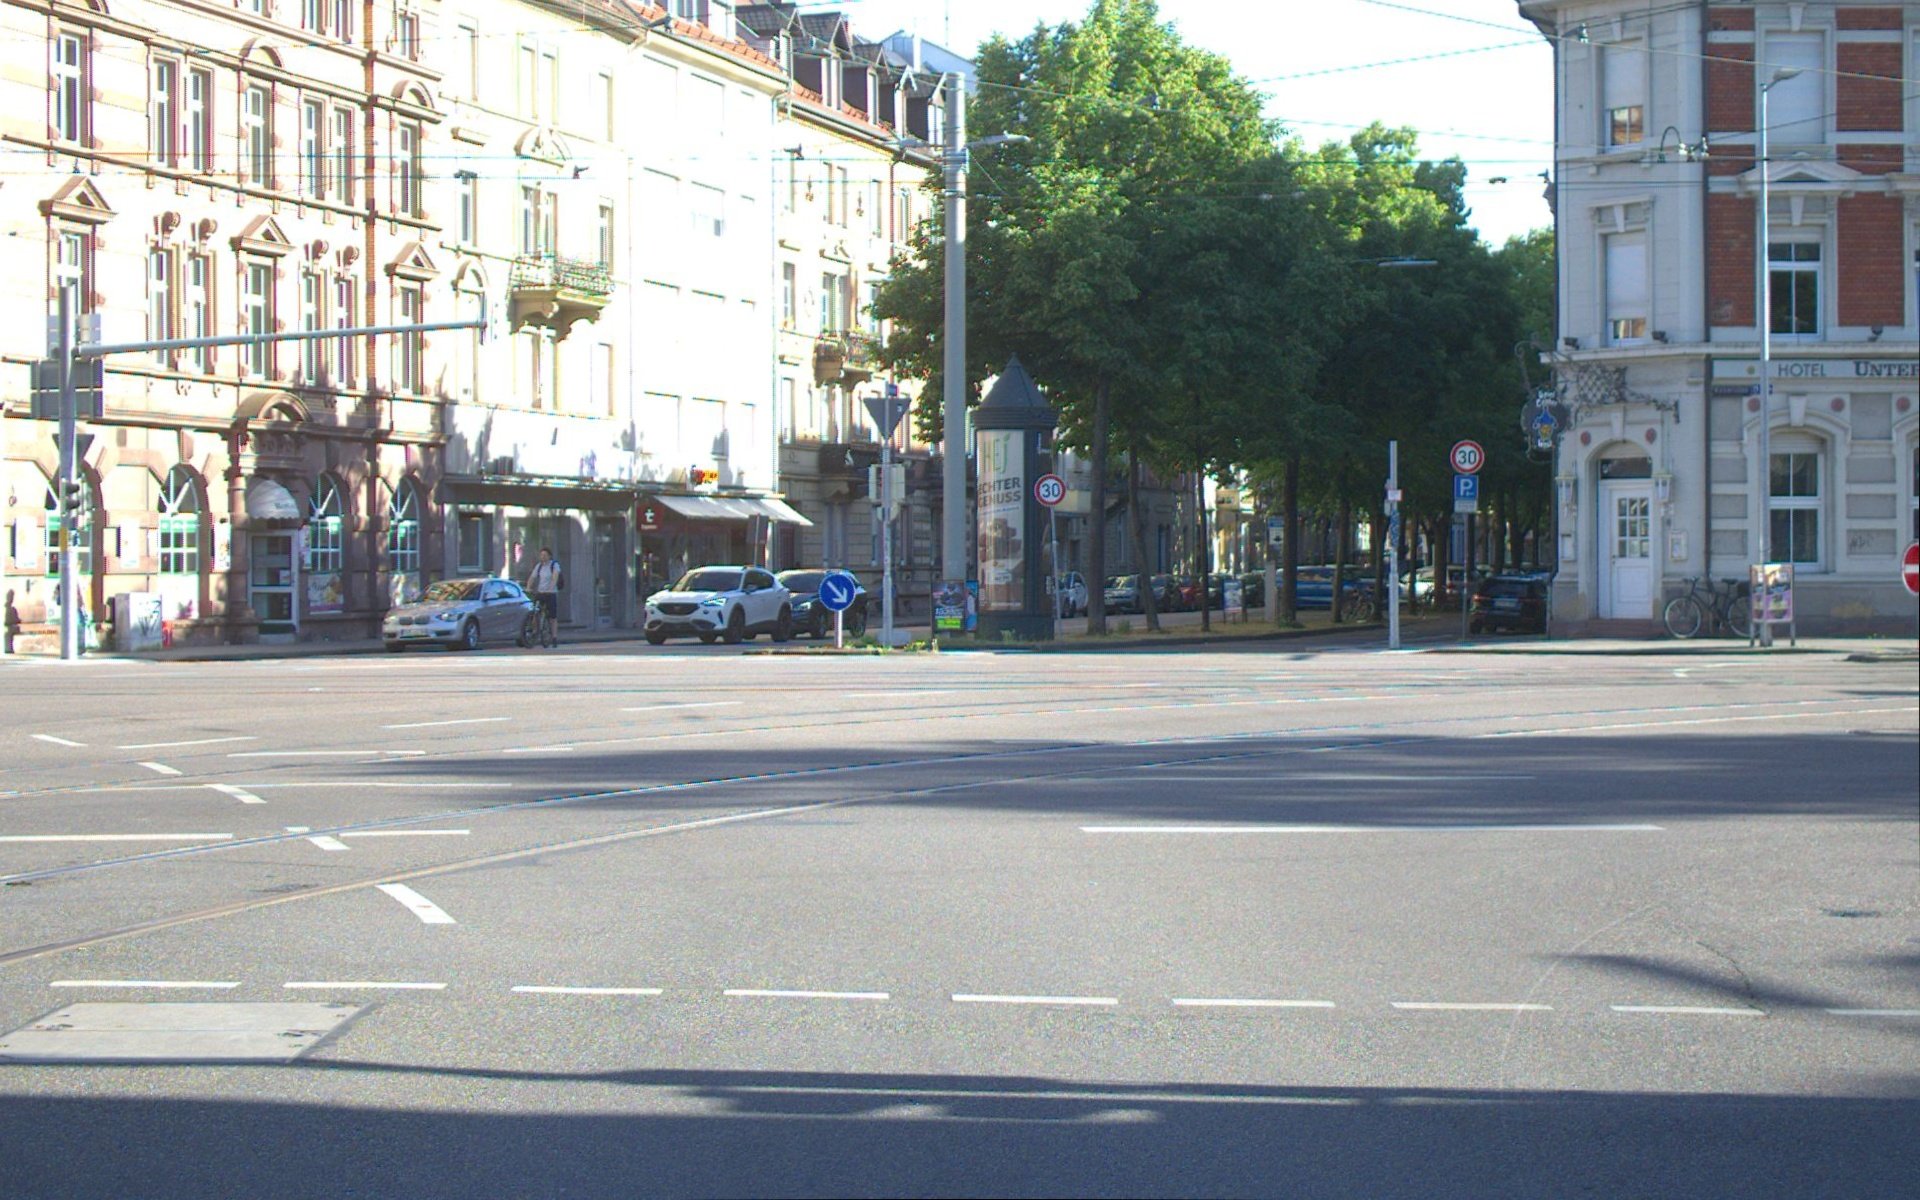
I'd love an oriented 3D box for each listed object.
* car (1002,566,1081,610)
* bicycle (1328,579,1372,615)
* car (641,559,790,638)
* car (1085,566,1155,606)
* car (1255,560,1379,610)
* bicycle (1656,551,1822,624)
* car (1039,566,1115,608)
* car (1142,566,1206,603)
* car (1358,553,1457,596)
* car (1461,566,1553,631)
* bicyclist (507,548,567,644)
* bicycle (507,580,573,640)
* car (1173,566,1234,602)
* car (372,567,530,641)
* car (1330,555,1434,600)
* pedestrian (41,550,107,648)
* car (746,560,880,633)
[{"bbox_3d":[2.645,-0.395,111.322,1.678,1.349,3.588,0,1,17],"label":"car"},{"bbox_3d":[11.270,-0.099,99.482,0.636,1.018,1.847,1,1,-14],"label":"bicycle"},{"bbox_3d":[-4.755,-0.049,67.313,1.678,1.478,3.768,0,1,17],"label":"car"},{"bbox_3d":[5.714,-0.514,122.440,1.678,1.349,3.588,0,1,17],"label":"car"},{"bbox_3d":[12.001,-0.504,115.676,3.905,1.642,1.681,0,1,17],"label":"car"},{"bbox_3d":[12.975,-0.205,57.274,2.554,1.170,0.819,1,0,-3],"label":"bicycle"},{"bbox_3d":[3.943,-0.438,115.478,1.678,1.349,3.588,0,1,17],"label":"car"},{"bbox_3d":[8.151,-0.608,130.746,1.678,1.349,3.588,0,1,17],"label":"car"},{"bbox_3d":[17.398,-0.994,133.505,3.582,1.642,1.681,0,1,17],"label":"car"},{"bbox_3d":[13.157,-0.054,82.572,1.678,1.478,3.945,0,1,17],"label":"car"},{"bbox_3d":[-8.008,-0.085,65.138,0.779,1.797,1.055,1,0,14],"label":"bicyclist"},{"bbox_3d":[-7.973,0.187,65.264,0.702,1.114,1.634,1,1,13],"label":"bicycle"},{"bbox_3d":[9.623,-0.647,135.776,1.678,1.349,3.588,0,1,17],"label":"car"},{"bbox_3d":[-9.866,0.058,66.910,1.678,1.349,3.588,0,1,17],"label":"car"},{"bbox_3d":[15.724,-0.840,128.031,3.582,1.642,1.681,0,1,17],"label":"car"},{"bbox_3d":[-15.316,-0.022,59.414,0.776,1.664,0.830,1,0,15],"label":"pedestrian"},{"bbox_3d":[-3.113,-0.099,73.614,1.678,1.478,3.945,0,1,17],"label":"car"}]
